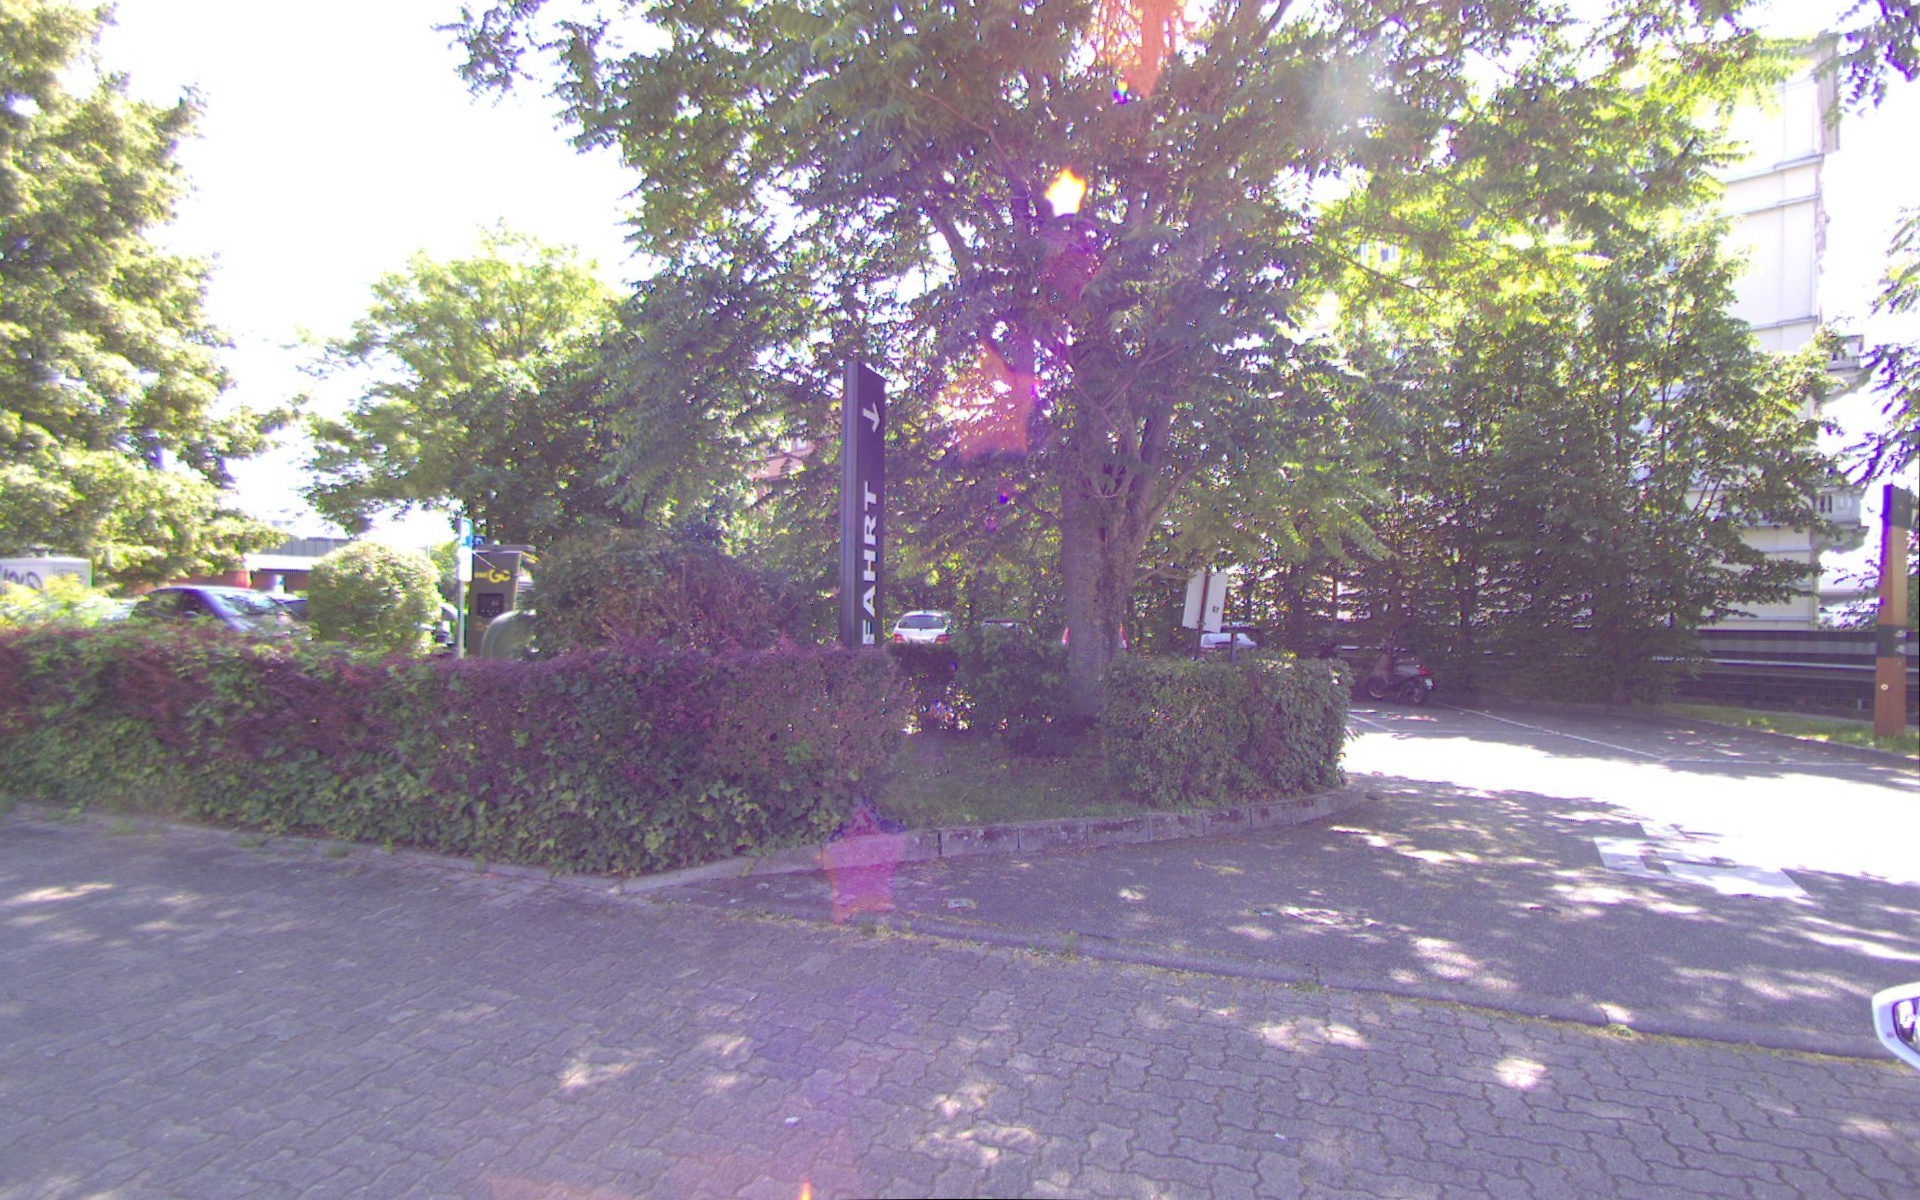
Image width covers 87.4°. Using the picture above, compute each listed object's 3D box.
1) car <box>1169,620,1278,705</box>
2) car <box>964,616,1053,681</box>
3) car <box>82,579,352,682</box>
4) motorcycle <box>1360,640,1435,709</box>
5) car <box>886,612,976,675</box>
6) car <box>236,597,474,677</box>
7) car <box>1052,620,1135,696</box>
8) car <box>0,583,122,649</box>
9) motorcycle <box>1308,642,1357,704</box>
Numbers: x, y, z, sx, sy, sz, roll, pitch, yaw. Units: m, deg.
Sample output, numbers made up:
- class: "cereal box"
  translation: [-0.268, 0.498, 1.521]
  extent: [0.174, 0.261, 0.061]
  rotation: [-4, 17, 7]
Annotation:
- class: "car"
  translation: [5.286, 1.187, 20.561]
  extent: [1.627, 1.489, 3.906]
  rotation: [0, 0, 7]
- class: "car"
  translation: [1.337, 1.196, 26.115]
  extent: [1.738, 1.489, 4.002]
  rotation: [0, 0, 11]
- class: "car"
  translation: [-13.900, 0.566, 18.839]
  extent: [4.280, 1.707, 1.863]
  rotation: [1, -3, 18]
- class: "motorcycle"
  translation: [8.127, 1.362, 18.733]
  extent: [0.559, 1.184, 1.604]
  rotation: [1, -1, -6]
- class: "car"
  translation: [-0.725, 1.154, 28.268]
  extent: [1.738, 1.593, 4.003]
  rotation: [1, 0, 10]
- class: "car"
  translation: [-12.656, 0.772, 21.067]
  extent: [4.280, 1.471, 1.863]
  rotation: [1, -3, 18]
- class: "car"
  translation: [3.028, 1.206, 22.352]
  extent: [1.670, 1.472, 4.002]
  rotation: [0, 0, 10]
- class: "car"
  translation: [-25.893, 0.429, 27.609]
  extent: [1.825, 1.708, 4.315]
  rotation: [2, -1, 4]
- class: "motorcycle"
  translation: [7.378, 1.422, 19.929]
  extent: [0.465, 1.156, 1.606]
  rotation: [1, -1, 4]
